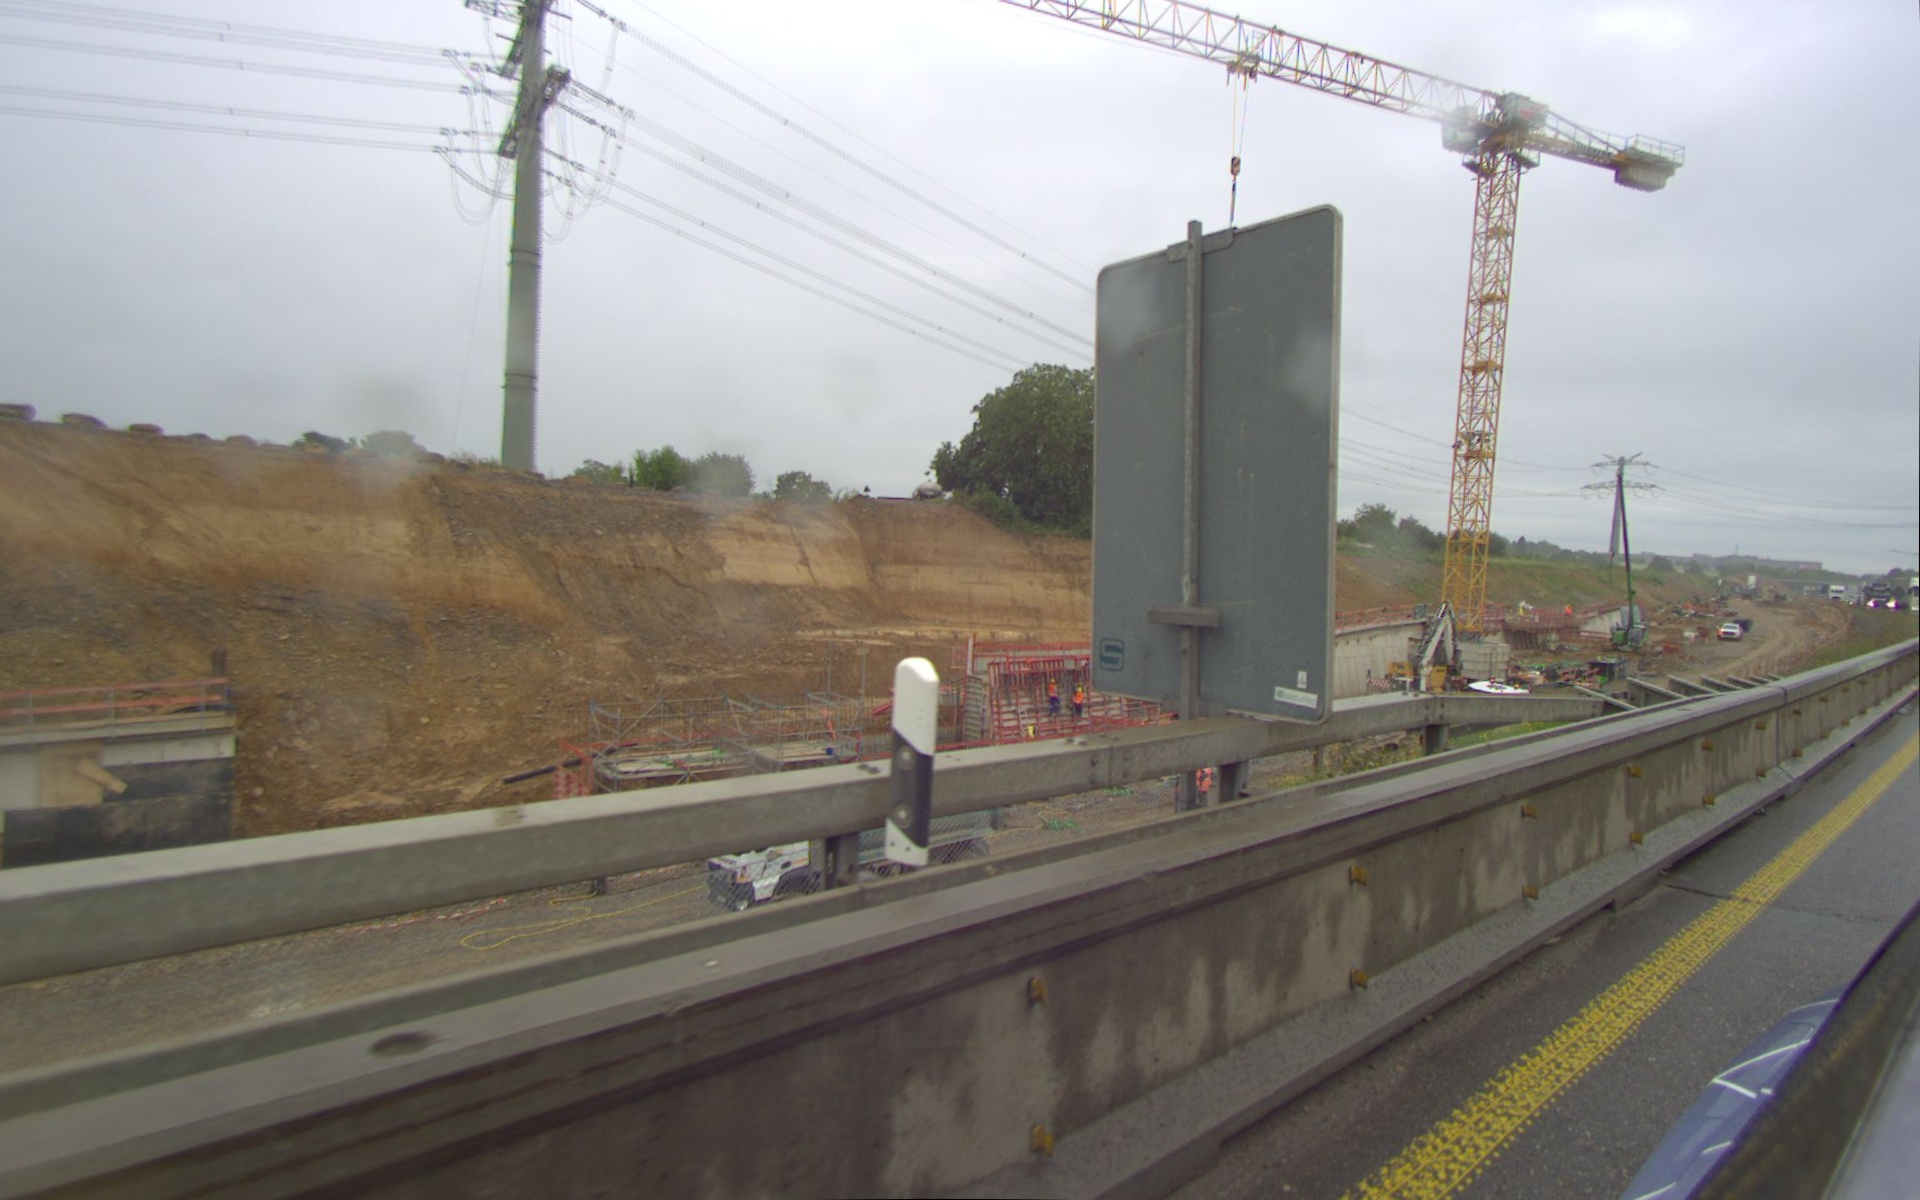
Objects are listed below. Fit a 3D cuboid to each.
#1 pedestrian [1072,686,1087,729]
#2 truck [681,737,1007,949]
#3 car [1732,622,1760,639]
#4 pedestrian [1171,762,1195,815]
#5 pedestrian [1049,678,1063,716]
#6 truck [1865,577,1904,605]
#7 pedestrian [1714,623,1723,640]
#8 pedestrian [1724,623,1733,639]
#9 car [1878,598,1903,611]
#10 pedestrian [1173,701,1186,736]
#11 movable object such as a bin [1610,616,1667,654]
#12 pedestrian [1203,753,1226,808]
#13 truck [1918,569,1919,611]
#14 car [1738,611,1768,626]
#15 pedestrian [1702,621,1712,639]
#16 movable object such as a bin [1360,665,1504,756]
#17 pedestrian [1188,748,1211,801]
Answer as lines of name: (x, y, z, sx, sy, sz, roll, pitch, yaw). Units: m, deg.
pedestrian: (6.038, 5.442, 51.172, 0.473, 2.127, 0.488, -1, -3, -43)
truck: (-2.940, 6.326, 27.959, 8.913, 3.655, 2.710, -2, 4, -39)
car: (86.582, 3.308, 111.433, 4.013, 1.638, 1.857, -1, 3, -44)
pedestrian: (8.310, 7.015, 37.697, 0.473, 1.790, 0.603, -1, 5, -42)
pedestrian: (4.770, 4.794, 50.301, 0.571, 1.827, 0.489, -3, -2, -2)
truck: (134.303, -1.336, 146.976, 8.196, 3.942, 3.540, 0, 1, -43)
pedestrian: (79.440, 3.322, 106.026, 0.593, 1.702, 0.613, 0, 0, -41)
pedestrian: (82.372, 3.296, 108.465, 0.593, 1.702, 0.613, 0, 0, -41)
car: (105.478, 0.523, 114.679, 3.933, 1.445, 1.787, 0, 1, -43)
pedestrian: (12.093, 6.527, 55.750, 0.473, 1.781, 0.489, -1, 4, -43)
movable object such as a bin: (64.868, 3.300, 96.787, 3.933, 2.914, 3.500, -1, 8, -43)
pedestrian: (9.667, 6.857, 38.457, 0.473, 1.928, 0.602, -1, 3, -42)
truck: (102.808, -1.028, 105.226, 4.304, 4.399, 13.204, 0, 1, 42)
car: (99.987, 2.328, 127.551, 4.780, 1.638, 2.347, -1, 3, -44)
pedestrian: (78.724, 3.178, 106.663, 0.655, 1.881, 0.613, 0, 3, -41)
movable object such as a bin: (23.098, 5.265, 49.459, 6.526, 3.466, 3.521, -2, 2, -34)
pedestrian: (9.345, 6.794, 39.477, 0.473, 1.927, 0.603, -1, 4, -42)
